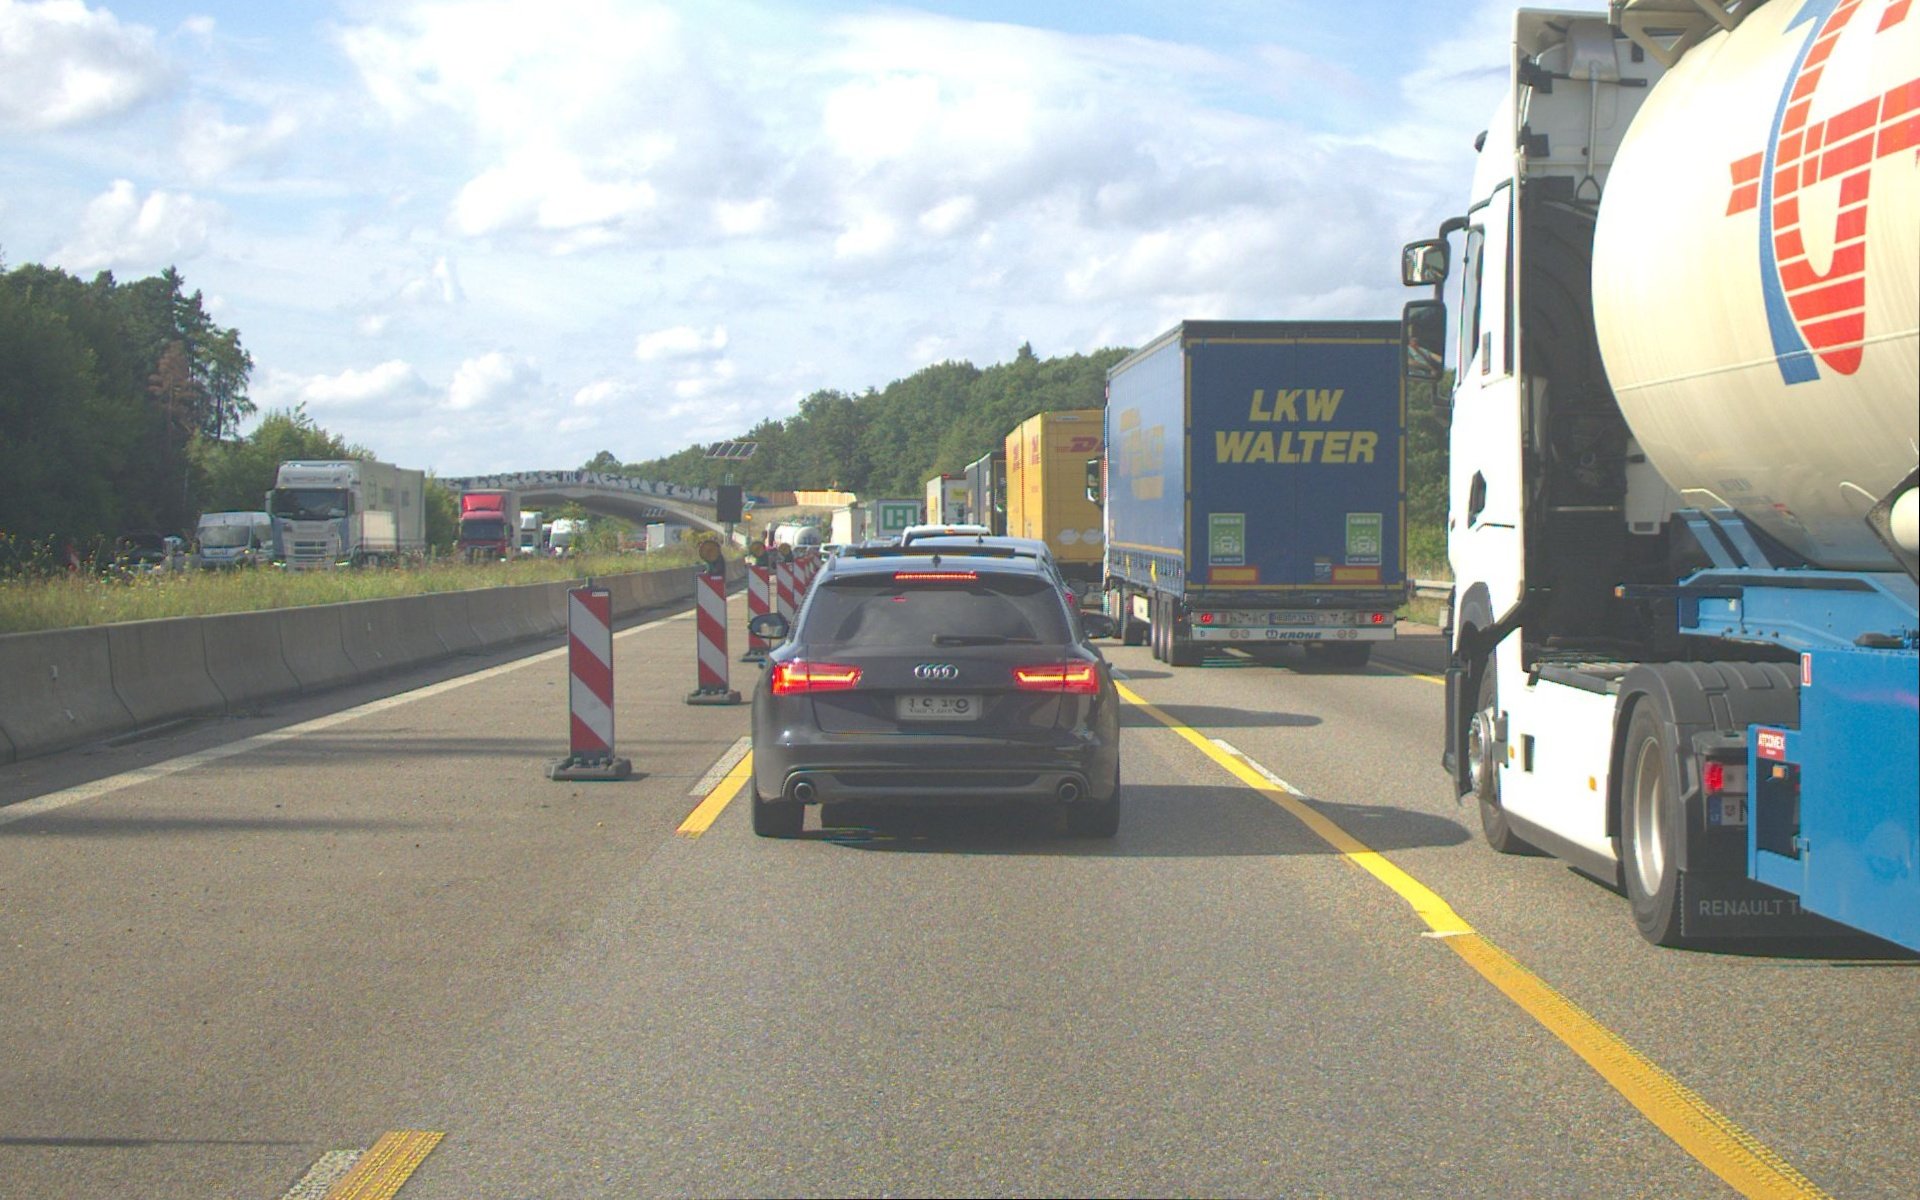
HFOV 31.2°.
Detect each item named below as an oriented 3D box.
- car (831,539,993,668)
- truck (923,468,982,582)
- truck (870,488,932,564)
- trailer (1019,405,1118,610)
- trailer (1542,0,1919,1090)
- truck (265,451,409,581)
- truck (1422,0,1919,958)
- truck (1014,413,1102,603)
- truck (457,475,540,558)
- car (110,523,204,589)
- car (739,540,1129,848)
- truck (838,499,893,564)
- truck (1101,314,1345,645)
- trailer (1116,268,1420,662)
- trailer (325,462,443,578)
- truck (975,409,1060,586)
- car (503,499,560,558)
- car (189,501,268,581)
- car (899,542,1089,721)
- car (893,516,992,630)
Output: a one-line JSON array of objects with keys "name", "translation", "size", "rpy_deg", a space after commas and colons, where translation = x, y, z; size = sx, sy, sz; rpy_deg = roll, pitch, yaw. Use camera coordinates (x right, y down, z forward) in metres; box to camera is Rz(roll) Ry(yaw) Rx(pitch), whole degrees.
[{"name": "car", "translation": [-0.537, 0.026, 39.574], "size": [1.751, 1.392, 3.608], "rpy_deg": [1, 1, 0]}, {"name": "truck", "translation": [-0.323, -2.834, 131.890], "size": [2.137, 4.243, 7.072], "rpy_deg": [1, 1, -1]}, {"name": "truck", "translation": [-3.416, -4.167, 195.474], "size": [3.304, 4.160, 9.703], "rpy_deg": [0, 1, -2]}, {"name": "trailer", "translation": [2.134, -1.808, 69.202], "size": [1.616, 3.905, 6.489], "rpy_deg": [1, 1, -1]}, {"name": "trailer", "translation": [3.822, -0.673, 8.005], "size": [2.644, 3.929, 12.598], "rpy_deg": [1, 1, 0]}, {"name": "truck", "translation": [-20.131, -2.656, 111.695], "size": [2.782, 3.971, 10.863], "rpy_deg": [1, 1, -1]}, {"name": "truck", "translation": [3.772, -0.750, 14.907], "size": [2.659, 3.958, 5.779], "rpy_deg": [1, 0, 0]}, {"name": "truck", "translation": [2.057, -1.918, 72.850], "size": [1.609, 3.883, 4.072], "rpy_deg": [1, 0, -1]}, {"name": "truck", "translation": [-22.951, -4.119, 171.454], "size": [2.800, 3.978, 10.186], "rpy_deg": [1, 1, 0]}, {"name": "car", "translation": [-25.108, -1.383, 107.654], "size": [1.993, 2.007, 4.000], "rpy_deg": [1, 1, 0]}, {"name": "car", "translation": [-0.134, 0.429, 18.353], "size": [1.848, 1.458, 4.000], "rpy_deg": [0, 1, 0]}, {"name": "truck", "translation": [-6.237, -4.505, 225.960], "size": [3.303, 4.160, 9.704], "rpy_deg": [0, 1, -3]}, {"name": "truck", "translation": [3.655, -1.642, 49.632], "size": [2.806, 4.354, 7.792], "rpy_deg": [1, 1, 0]}, {"name": "trailer", "translation": [3.707, -1.572, 43.949], "size": [2.805, 4.398, 10.433], "rpy_deg": [1, 1, 0]}, {"name": "trailer", "translation": [-20.262, -2.762, 121.411], "size": [2.790, 3.910, 8.489], "rpy_deg": [1, 1, -1]}, {"name": "truck", "translation": [1.630, -2.955, 100.590], "size": [1.993, 4.897, 9.563], "rpy_deg": [1, 1, -2]}, {"name": "car", "translation": [-24.951, -4.139, 200.367], "size": [2.487, 3.358, 7.453], "rpy_deg": [1, 1, -1]}, {"name": "car", "translation": [-24.967, -1.997, 117.508], "size": [2.250, 2.634, 5.021], "rpy_deg": [1, 1, -8]}, {"name": "car", "translation": [0.269, 0.243, 29.617], "size": [1.524, 1.434, 3.285], "rpy_deg": [1, 1, 0]}, {"name": "car", "translation": [-0.288, -0.453, 57.136], "size": [1.581, 1.830, 3.112], "rpy_deg": [1, 1, 0]}]
